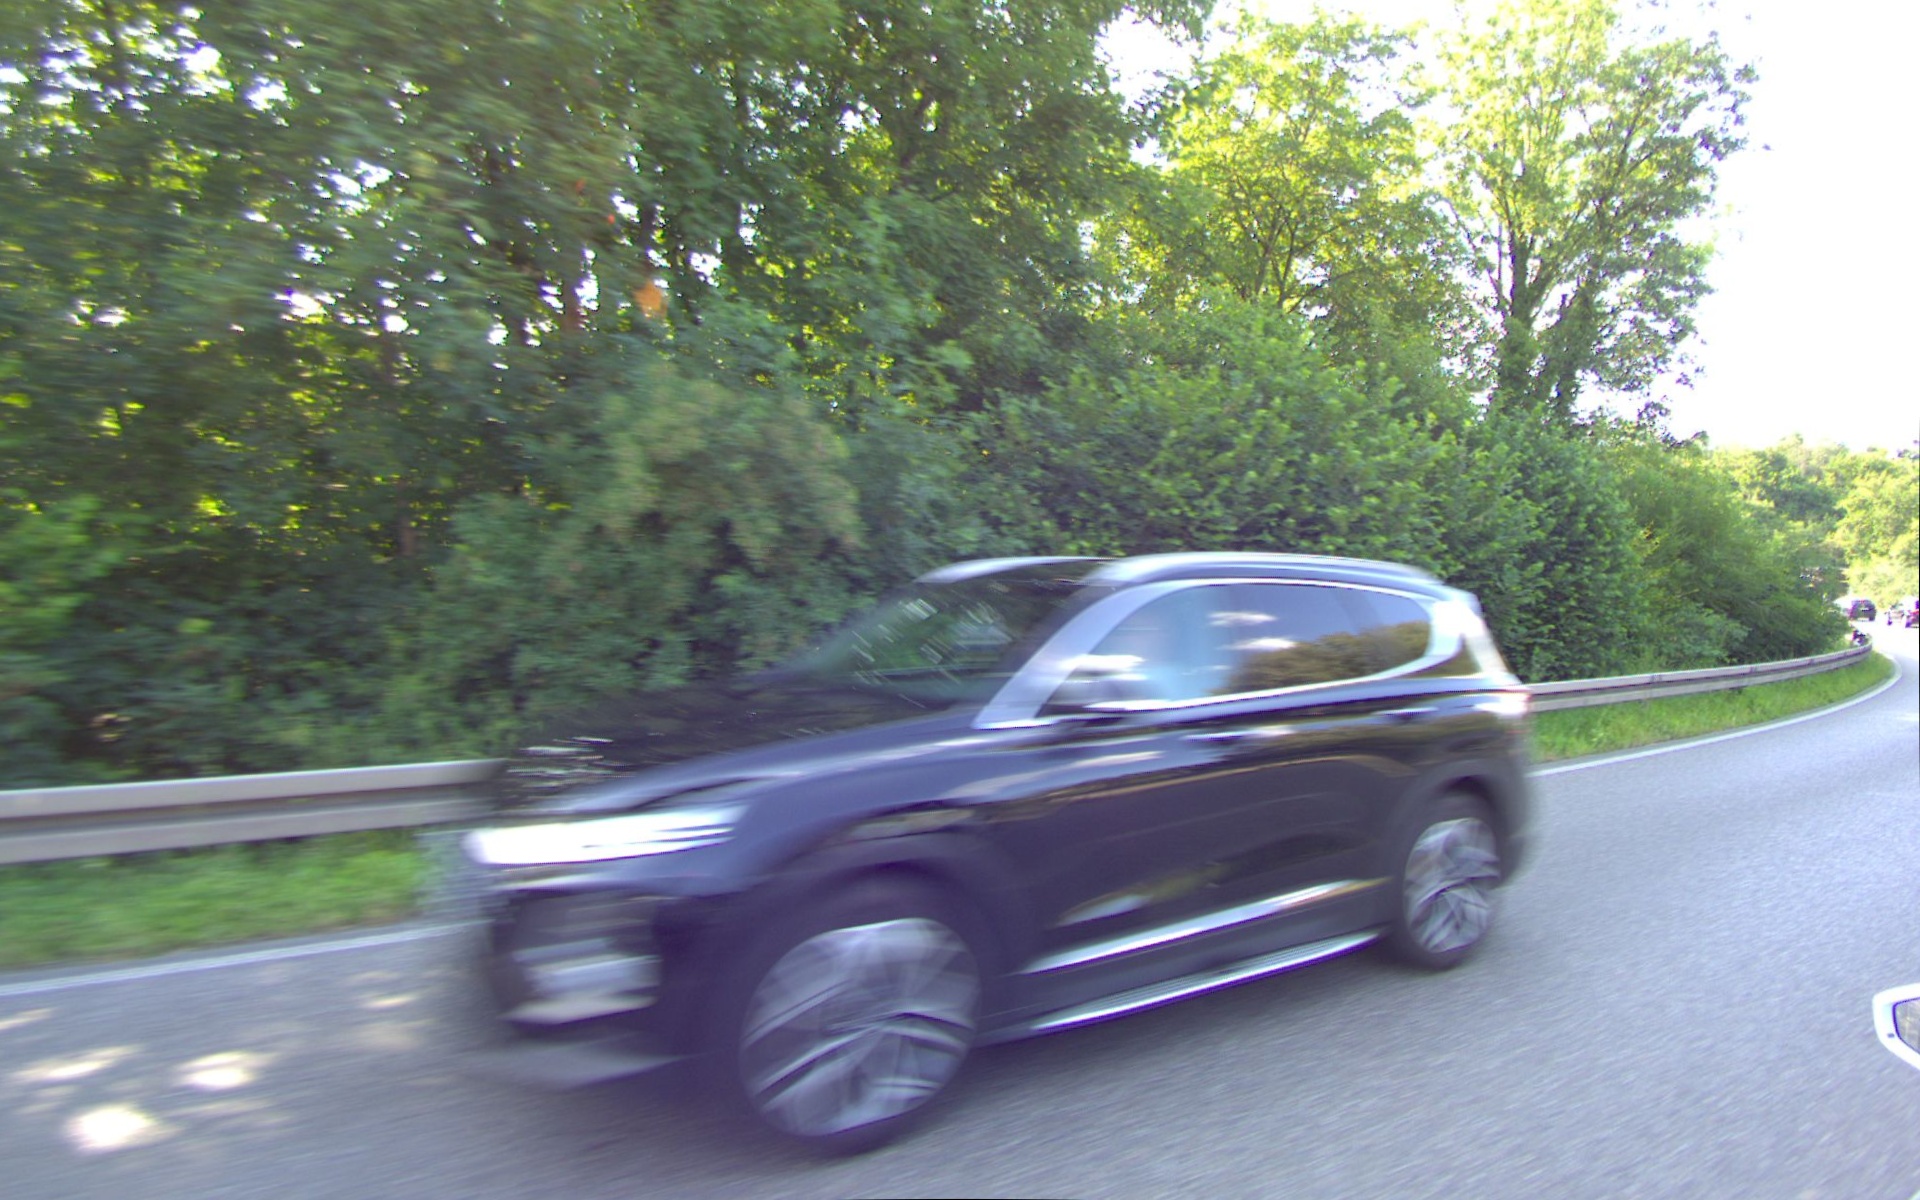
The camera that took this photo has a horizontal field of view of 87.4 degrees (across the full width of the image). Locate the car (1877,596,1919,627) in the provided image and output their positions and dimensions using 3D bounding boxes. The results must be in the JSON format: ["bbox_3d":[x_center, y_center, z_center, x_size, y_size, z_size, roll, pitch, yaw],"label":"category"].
[{"bbox_3d":[54.985,0.656,57.942,1.838,1.650,3.996,4,3,25],"label":"car"}]

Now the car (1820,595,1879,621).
[{"bbox_3d":[59.064,0.515,66.766,1.838,1.586,3.995,1,1,26],"label":"car"}]

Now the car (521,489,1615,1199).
[{"bbox_3d":[0.715,0.606,4.276,4.501,1.675,1.856,1,0,-34],"label":"car"}]
